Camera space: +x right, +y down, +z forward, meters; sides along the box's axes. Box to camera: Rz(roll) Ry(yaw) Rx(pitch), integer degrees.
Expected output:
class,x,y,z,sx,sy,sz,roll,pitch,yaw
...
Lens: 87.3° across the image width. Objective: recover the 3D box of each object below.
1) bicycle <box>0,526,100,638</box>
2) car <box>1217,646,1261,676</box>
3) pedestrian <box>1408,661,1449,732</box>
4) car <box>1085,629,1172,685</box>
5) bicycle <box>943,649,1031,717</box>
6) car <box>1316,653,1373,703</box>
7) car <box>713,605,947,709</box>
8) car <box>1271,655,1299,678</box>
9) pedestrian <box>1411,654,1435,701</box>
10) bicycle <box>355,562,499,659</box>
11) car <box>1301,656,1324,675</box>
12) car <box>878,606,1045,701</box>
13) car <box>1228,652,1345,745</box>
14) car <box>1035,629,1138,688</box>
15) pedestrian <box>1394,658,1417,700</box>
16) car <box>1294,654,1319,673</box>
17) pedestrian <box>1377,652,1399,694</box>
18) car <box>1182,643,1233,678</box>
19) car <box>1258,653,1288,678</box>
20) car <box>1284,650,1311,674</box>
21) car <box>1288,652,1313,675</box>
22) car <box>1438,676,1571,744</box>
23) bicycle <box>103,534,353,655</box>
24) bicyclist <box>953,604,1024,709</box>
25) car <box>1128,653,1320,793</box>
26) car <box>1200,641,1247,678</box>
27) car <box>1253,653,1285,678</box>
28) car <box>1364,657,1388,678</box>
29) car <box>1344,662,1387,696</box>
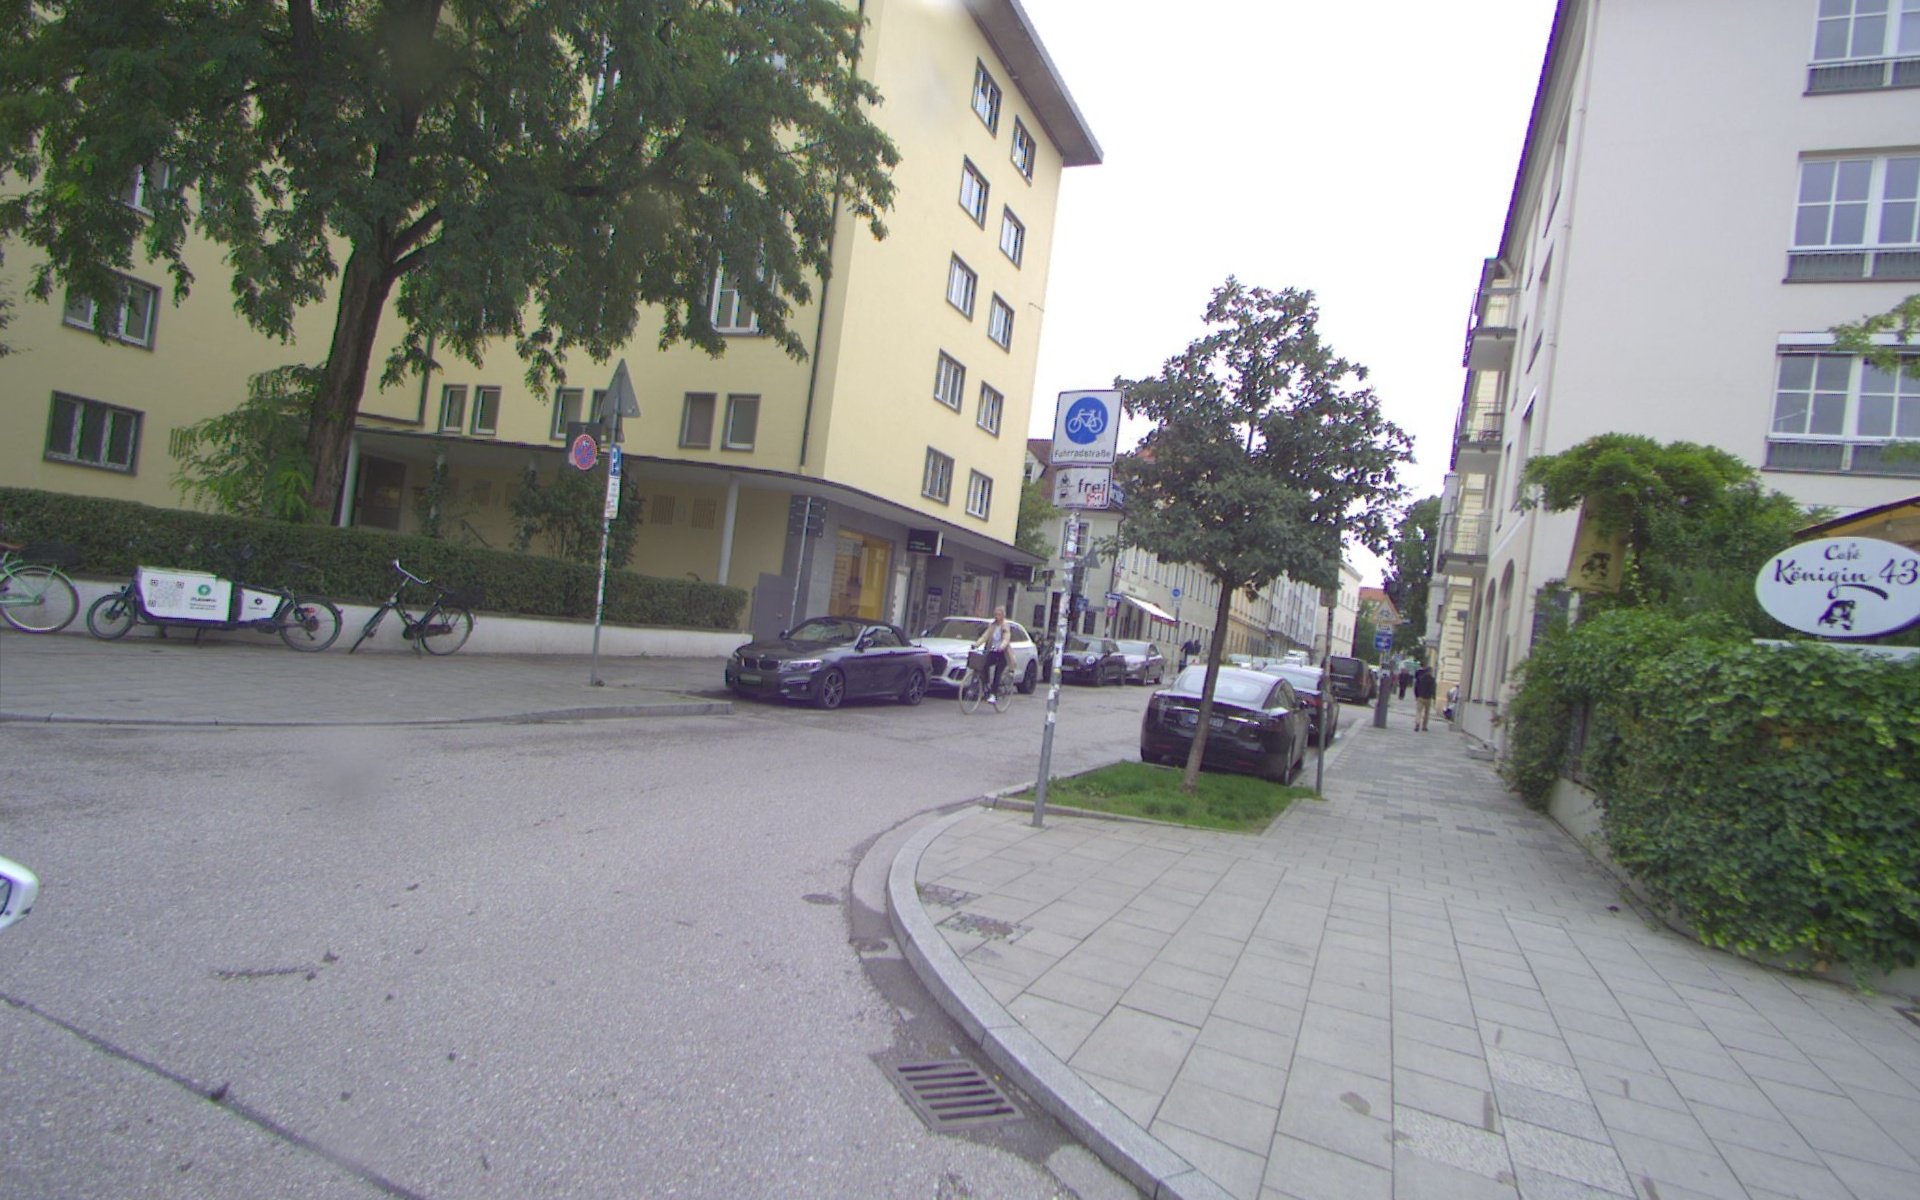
class,x,y,z,sx,sy,sz,roll,pitch,yaw
bicycle,-10.265,-0.248,10.419,1.923,1.098,0.526,6,0,-23
car,16.129,3.552,58.088,1.757,1.431,3.999,7,-1,23
pedestrian,12.403,2.542,26.634,0.774,1.735,0.831,7,0,24
car,5.722,1.937,33.765,1.792,1.548,3.999,7,-1,24
bicycle,0.496,1.423,17.320,0.672,1.036,1.966,7,-1,25
car,16.276,3.295,42.437,1.787,1.796,3.998,7,-1,25
car,-1.955,0.973,16.584,1.633,1.383,4.332,4,-2,26
car,24.380,4.988,75.459,1.662,1.426,3.502,7,0,21
pedestrian,20.881,3.489,45.356,0.742,2.038,0.831,7,0,25
bicycle,-7.053,0.171,13.406,0.452,1.144,1.687,7,-1,23
car,35.270,6.505,100.585,1.743,1.616,3.997,8,0,23
car,0.155,1.109,21.401,1.825,1.682,4.316,4,-1,25
car,6.932,2.016,21.105,1.693,1.548,3.998,7,-1,25
car,3.840,1.758,29.964,1.794,1.417,3.999,7,-1,25
pedestrian,22.904,4.055,51.735,0.774,2.038,0.832,7,0,20
car,32.816,6.039,95.183,1.673,1.526,3.997,7,0,24
pedestrian,22.134,3.775,52.070,0.774,2.038,0.832,7,0,20
car,12.259,3.008,49.602,1.710,1.439,4.000,7,-1,23
car,22.156,4.611,71.154,1.662,1.426,3.502,7,0,21
car,27.300,5.001,81.234,1.757,1.682,4.001,7,-1,21
car,29.067,5.407,85.840,1.757,1.682,4.001,7,-1,21
car,16.929,3.399,31.434,3.420,1.548,1.575,7,0,26
bicycle,-8.378,-0.030,11.622,0.631,1.129,2.166,7,-1,41
bicyclist,0.500,0.977,17.221,0.684,1.676,1.006,7,0,26
car,3.952,1.633,14.432,1.934,1.415,4.504,7,-1,23
car,14.209,3.221,54.110,1.757,1.682,4.000,7,-1,23
car,20.611,4.327,67.022,1.662,1.426,3.999,7,0,21
car,34.635,5.600,83.771,1.673,1.526,3.998,7,0,23
car,22.539,4.351,55.845,1.797,1.536,4.236,7,0,25
